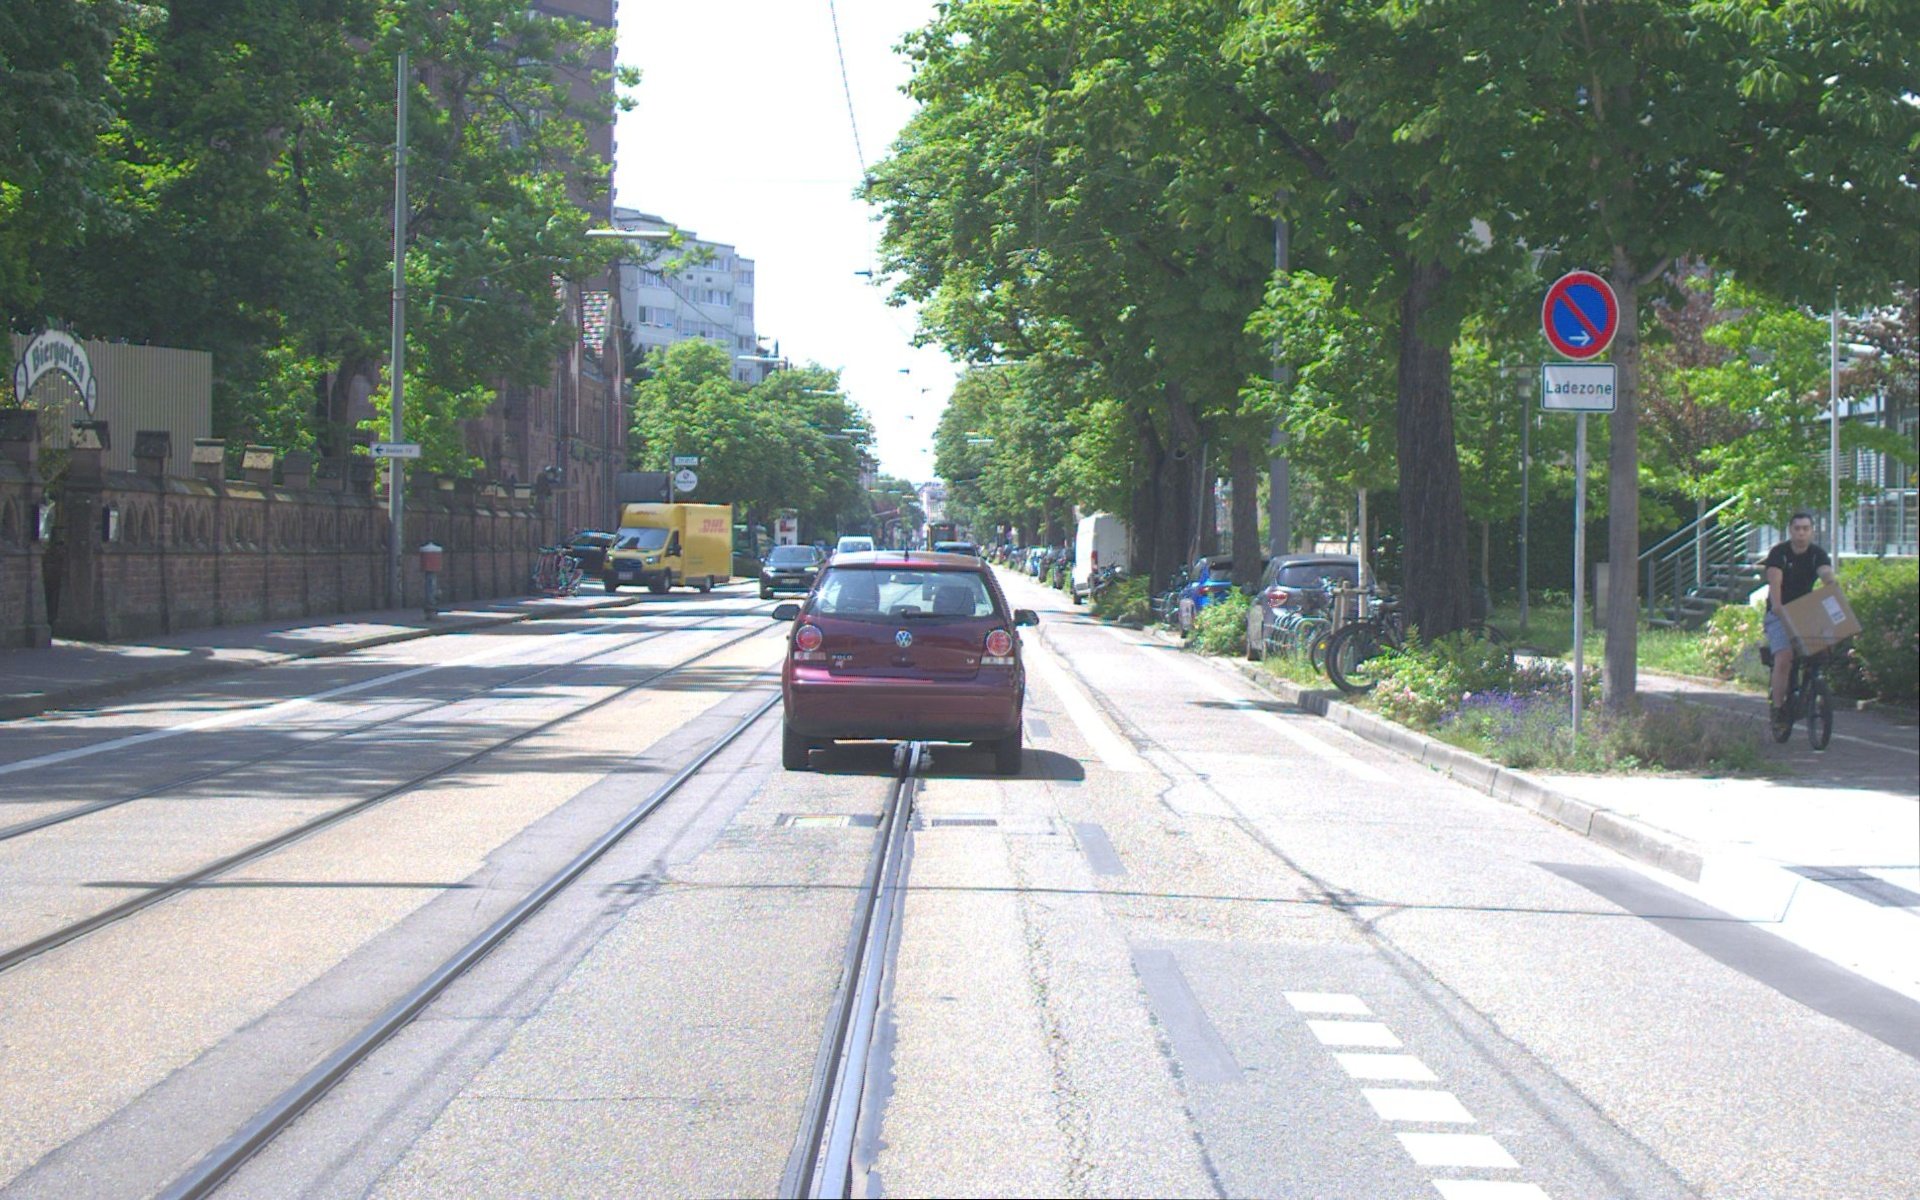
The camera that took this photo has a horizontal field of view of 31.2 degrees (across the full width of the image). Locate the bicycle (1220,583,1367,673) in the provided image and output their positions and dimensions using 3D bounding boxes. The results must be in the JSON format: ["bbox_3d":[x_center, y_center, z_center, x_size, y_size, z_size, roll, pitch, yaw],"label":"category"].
[{"bbox_3d":[4.136,0.344,42.729,1.751,1.081,0.548,1,1,0],"label":"bicycle"}]

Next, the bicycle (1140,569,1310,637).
[{"bbox_3d":[4.959,0.051,64.530,3.069,1.150,0.782,2,1,-1],"label":"bicycle"}]

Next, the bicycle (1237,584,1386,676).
[{"bbox_3d":[4.284,0.364,41.950,1.751,1.081,0.548,1,1,0],"label":"bicycle"}]

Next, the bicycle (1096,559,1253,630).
[{"bbox_3d":[4.336,-0.117,69.590,3.069,1.308,0.782,2,1,-1],"label":"bicycle"}]

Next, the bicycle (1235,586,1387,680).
[{"bbox_3d":[4.208,0.395,41.319,1.751,1.081,0.548,1,1,0],"label":"bicycle"}]

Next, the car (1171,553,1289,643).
[{"bbox_3d":[4.600,-0.061,58.976,1.688,1.463,3.880,1,1,0],"label":"car"}]

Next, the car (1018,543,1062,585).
[{"bbox_3d":[3.360,-1.540,145.475,1.674,1.651,4.000,2,1,0],"label":"car"}]

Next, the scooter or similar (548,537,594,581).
[{"bbox_3d":[-10.517,-1.102,93.001,1.088,1.151,0.527,2,1,-21],"label":"scooter or similar"}]

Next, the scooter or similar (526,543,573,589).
[{"bbox_3d":[-10.783,-0.886,90.289,1.088,1.151,0.527,2,1,-21],"label":"scooter or similar"}]

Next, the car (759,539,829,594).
[{"bbox_3d":[-4.732,-0.979,98.269,1.770,1.510,4.000,1,1,0],"label":"car"}]

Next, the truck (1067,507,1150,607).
[{"bbox_3d":[4.149,-1.236,96.535,1.993,2.652,4.875,2,1,0],"label":"truck"}]

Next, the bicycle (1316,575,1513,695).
[{"bbox_3d":[4.570,0.348,34.637,1.883,1.178,0.694,0,0,0],"label":"bicycle"}]

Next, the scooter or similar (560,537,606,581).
[{"bbox_3d":[-10.282,-1.114,93.735,1.088,1.151,0.527,2,1,-21],"label":"scooter or similar"}]

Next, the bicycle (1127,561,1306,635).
[{"bbox_3d":[5.015,-0.046,67.315,3.367,1.308,0.782,2,1,-1],"label":"bicycle"}]

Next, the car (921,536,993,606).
[{"bbox_3d":[-0.114,-0.903,105.647,1.993,2.007,4.001,2,1,-2],"label":"car"}]

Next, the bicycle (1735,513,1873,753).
[{"bbox_3d":[6.479,0.239,26.462,0.690,1.779,1.810,0,0,3],"label":"bicycle"}]

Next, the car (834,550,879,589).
[{"bbox_3d":[-4.980,-1.484,165.933,1.993,1.848,4.682,1,1,0],"label":"car"}]

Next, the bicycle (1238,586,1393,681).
[{"bbox_3d":[4.203,0.395,40.712,1.751,1.081,0.548,1,1,0],"label":"bicycle"}]

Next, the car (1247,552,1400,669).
[{"bbox_3d":[4.910,0.112,46.822,1.688,1.498,3.628,-1,1,0],"label":"car"}]

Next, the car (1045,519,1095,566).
[{"bbox_3d":[4.094,-2.148,128.135,1.674,1.651,4.000,2,1,0],"label":"car"}]

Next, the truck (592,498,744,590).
[{"bbox_3d":[-9.198,-1.765,109.265,2.371,2.777,7.314,1,1,16],"label":"truck"}]

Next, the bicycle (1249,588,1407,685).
[{"bbox_3d":[4.226,0.417,39.549,1.751,1.081,0.548,1,1,0],"label":"bicycle"}]

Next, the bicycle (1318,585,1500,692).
[{"bbox_3d":[4.667,0.397,35.801,1.825,1.081,0.718,1,0,4],"label":"bicycle"}]

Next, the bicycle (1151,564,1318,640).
[{"bbox_3d":[5.236,0.028,65.739,3.069,1.308,0.782,2,1,-1],"label":"bicycle"}]

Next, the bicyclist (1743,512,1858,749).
[{"bbox_3d":[6.485,0.229,26.564,0.696,1.793,0.887,0,0,3],"label":"bicyclist"}]

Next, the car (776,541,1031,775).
[{"bbox_3d":[-0.388,0.337,24.163,1.619,1.481,4.000,1,1,-1],"label":"car"}]
